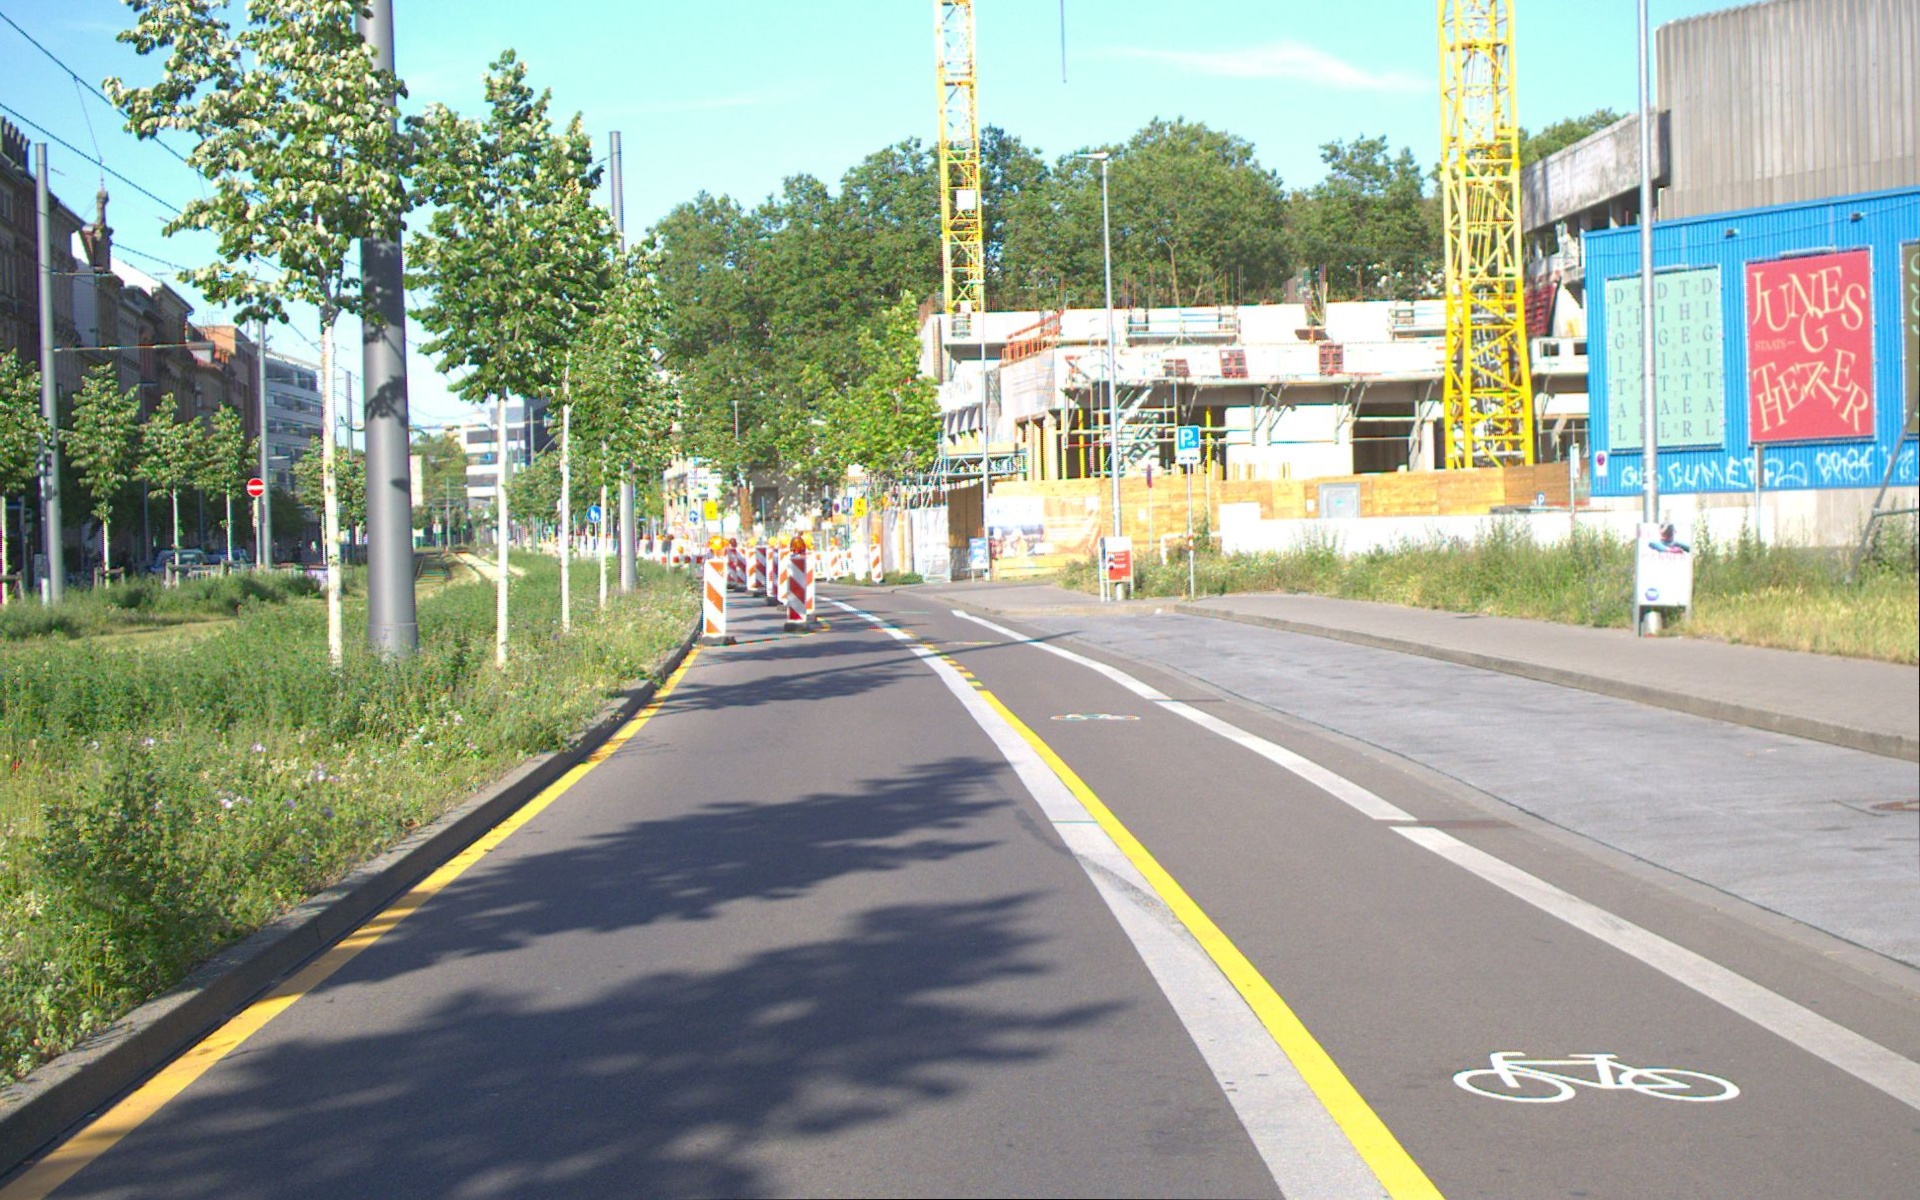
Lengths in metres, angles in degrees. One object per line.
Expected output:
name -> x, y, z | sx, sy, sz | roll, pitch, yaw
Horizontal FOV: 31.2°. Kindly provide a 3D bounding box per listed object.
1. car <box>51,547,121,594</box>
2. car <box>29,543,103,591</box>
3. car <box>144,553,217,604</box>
car -> -31.495, -1.078, 123.974 | 1.903, 1.570, 4.302 | -2, 1, -7
car -> -30.953, -1.173, 119.072 | 1.903, 1.570, 4.302 | -2, 1, -7
car -> -25.483, -0.729, 112.473 | 1.903, 1.570, 4.302 | -2, 1, -7
